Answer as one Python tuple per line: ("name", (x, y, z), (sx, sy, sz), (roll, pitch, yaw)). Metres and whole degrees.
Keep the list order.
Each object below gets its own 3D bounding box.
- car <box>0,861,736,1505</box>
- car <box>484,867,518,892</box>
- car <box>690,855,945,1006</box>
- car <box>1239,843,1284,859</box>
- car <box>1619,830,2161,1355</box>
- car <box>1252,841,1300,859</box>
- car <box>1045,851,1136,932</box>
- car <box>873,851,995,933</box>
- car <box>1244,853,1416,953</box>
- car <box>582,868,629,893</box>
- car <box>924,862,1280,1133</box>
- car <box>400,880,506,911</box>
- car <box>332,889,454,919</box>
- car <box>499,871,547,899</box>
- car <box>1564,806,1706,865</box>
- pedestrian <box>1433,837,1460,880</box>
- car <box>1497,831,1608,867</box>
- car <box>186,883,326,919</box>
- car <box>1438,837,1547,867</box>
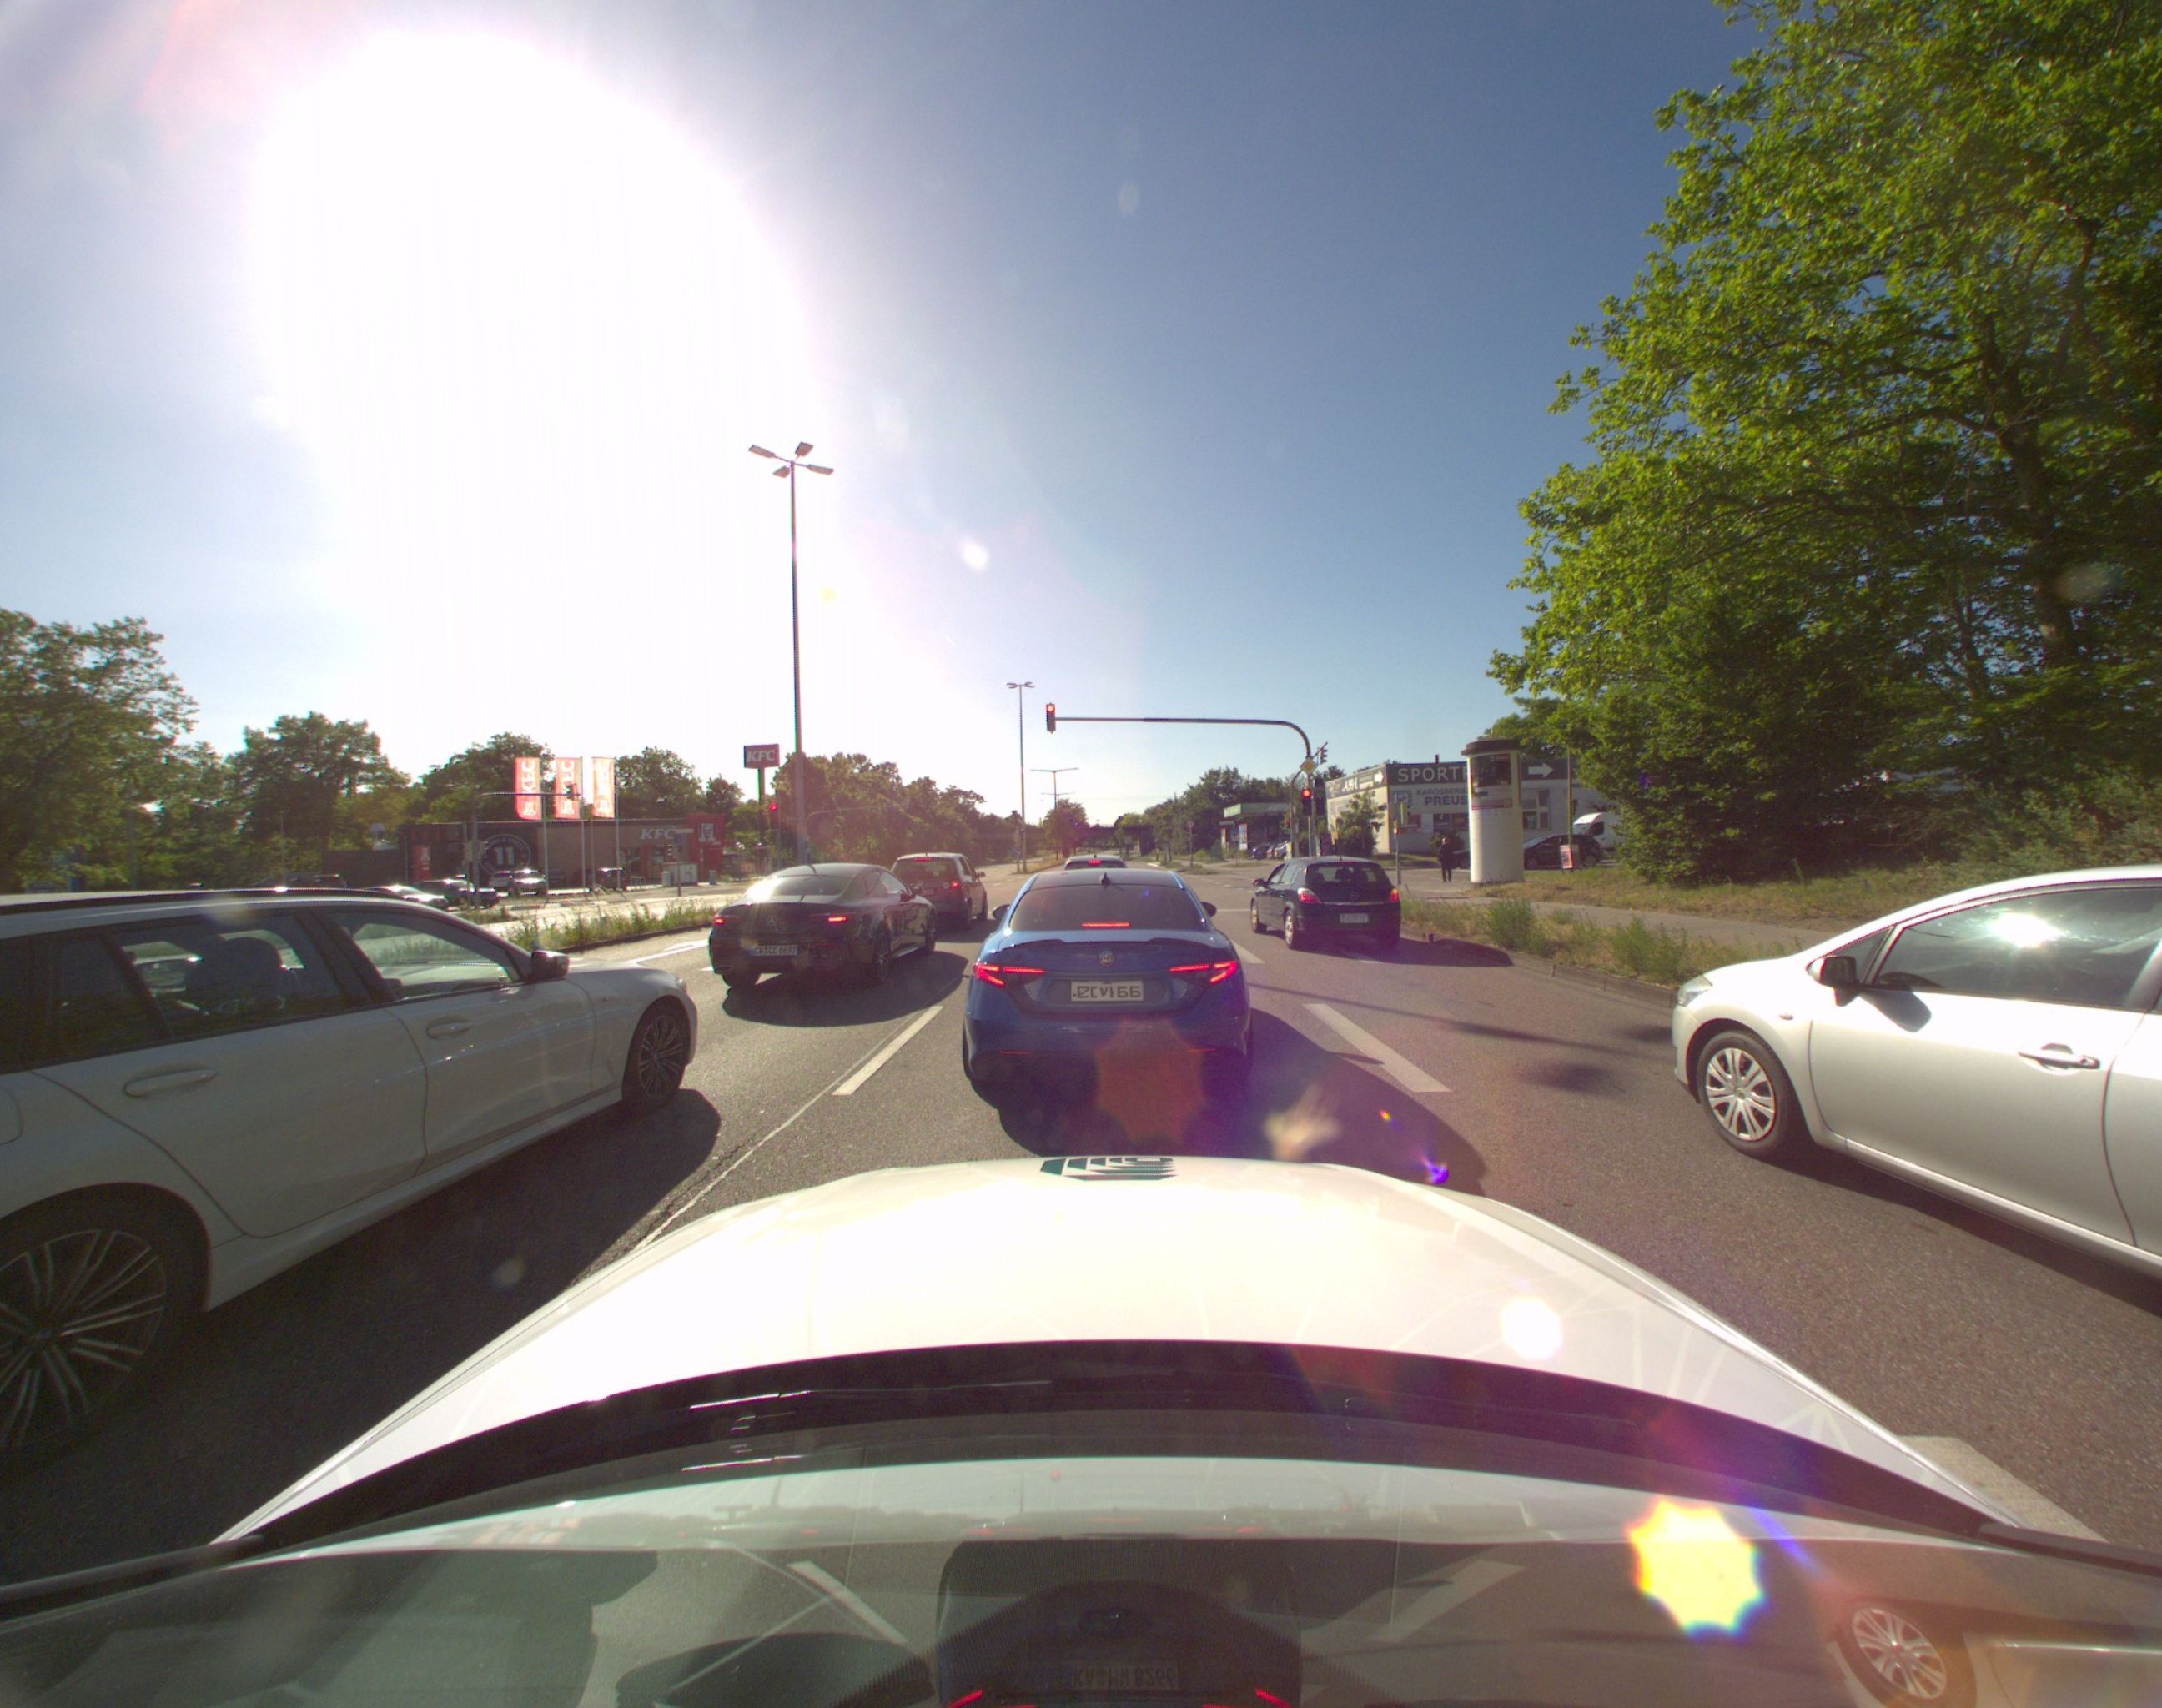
("car", (-3.424, 0.818, 3.406), (1.805, 1.486, 4.599), (-1, 0, 2))
("car", (-44.057, 1.877, 61.878), (2.009, 1.813, 3.731), (0, -1, -36))
("car", (-3.145, 0.805, 10.834), (1.806, 1.551, 4.544), (-1, 0, 1))
("car", (18.396, -0.278, 82.903), (3.995, 1.552, 1.989), (0, -1, -16))
("car", (4.056, 0.689, 2.810), (1.777, 1.537, 4.109), (0, 0, 2))
("car", (17.814, -0.351, 74.441), (3.971, 1.552, 2.001), (0, -1, 2))
("car", (0.290, 0.715, 16.986), (1.696, 1.497, 3.722), (0, -1, 3))
("car", (-3.015, 0.735, 17.609), (1.806, 1.551, 4.353), (0, -1, 0))
("car", (4.047, 0.714, 14.012), (1.727, 1.442, 4.373), (0, 0, 2))
("car", (-33.917, 1.862, 58.015), (1.946, 1.740, 4.046), (0, -1, -45))
("car", (0.218, 0.786, 6.220), (1.901, 1.423, 3.722), (0, -1, 3))
("car", (-32.135, 2.098, 41.746), (3.940, 1.453, 1.937), (0, -1, 1))
("car", (-32.187, 2.319, 38.198), (4.070, 1.252, 1.871), (0, -1, 0))
("car", (-37.384, 2.021, 54.545), (1.946, 1.740, 4.046), (0, -1, -45))
("car", (28.540, -0.919, 42.095), (5.812, 2.672, 2.001), (-3, -1, 2))
("pedestrian", (14.186, 0.168, 31.649), (0.814, 1.669, 0.514), (0, -1, 1))
("car", (22.333, -0.237, 38.680), (4.291, 1.650, 1.638), (0, -1, 1))
("car", (-39.100, 2.196, 38.681), (4.608, 1.579, 1.936), (0, -1, 0))
("car", (21.330, -0.101, 42.307), (4.803, 1.468, 1.758), (0, -1, 0))
